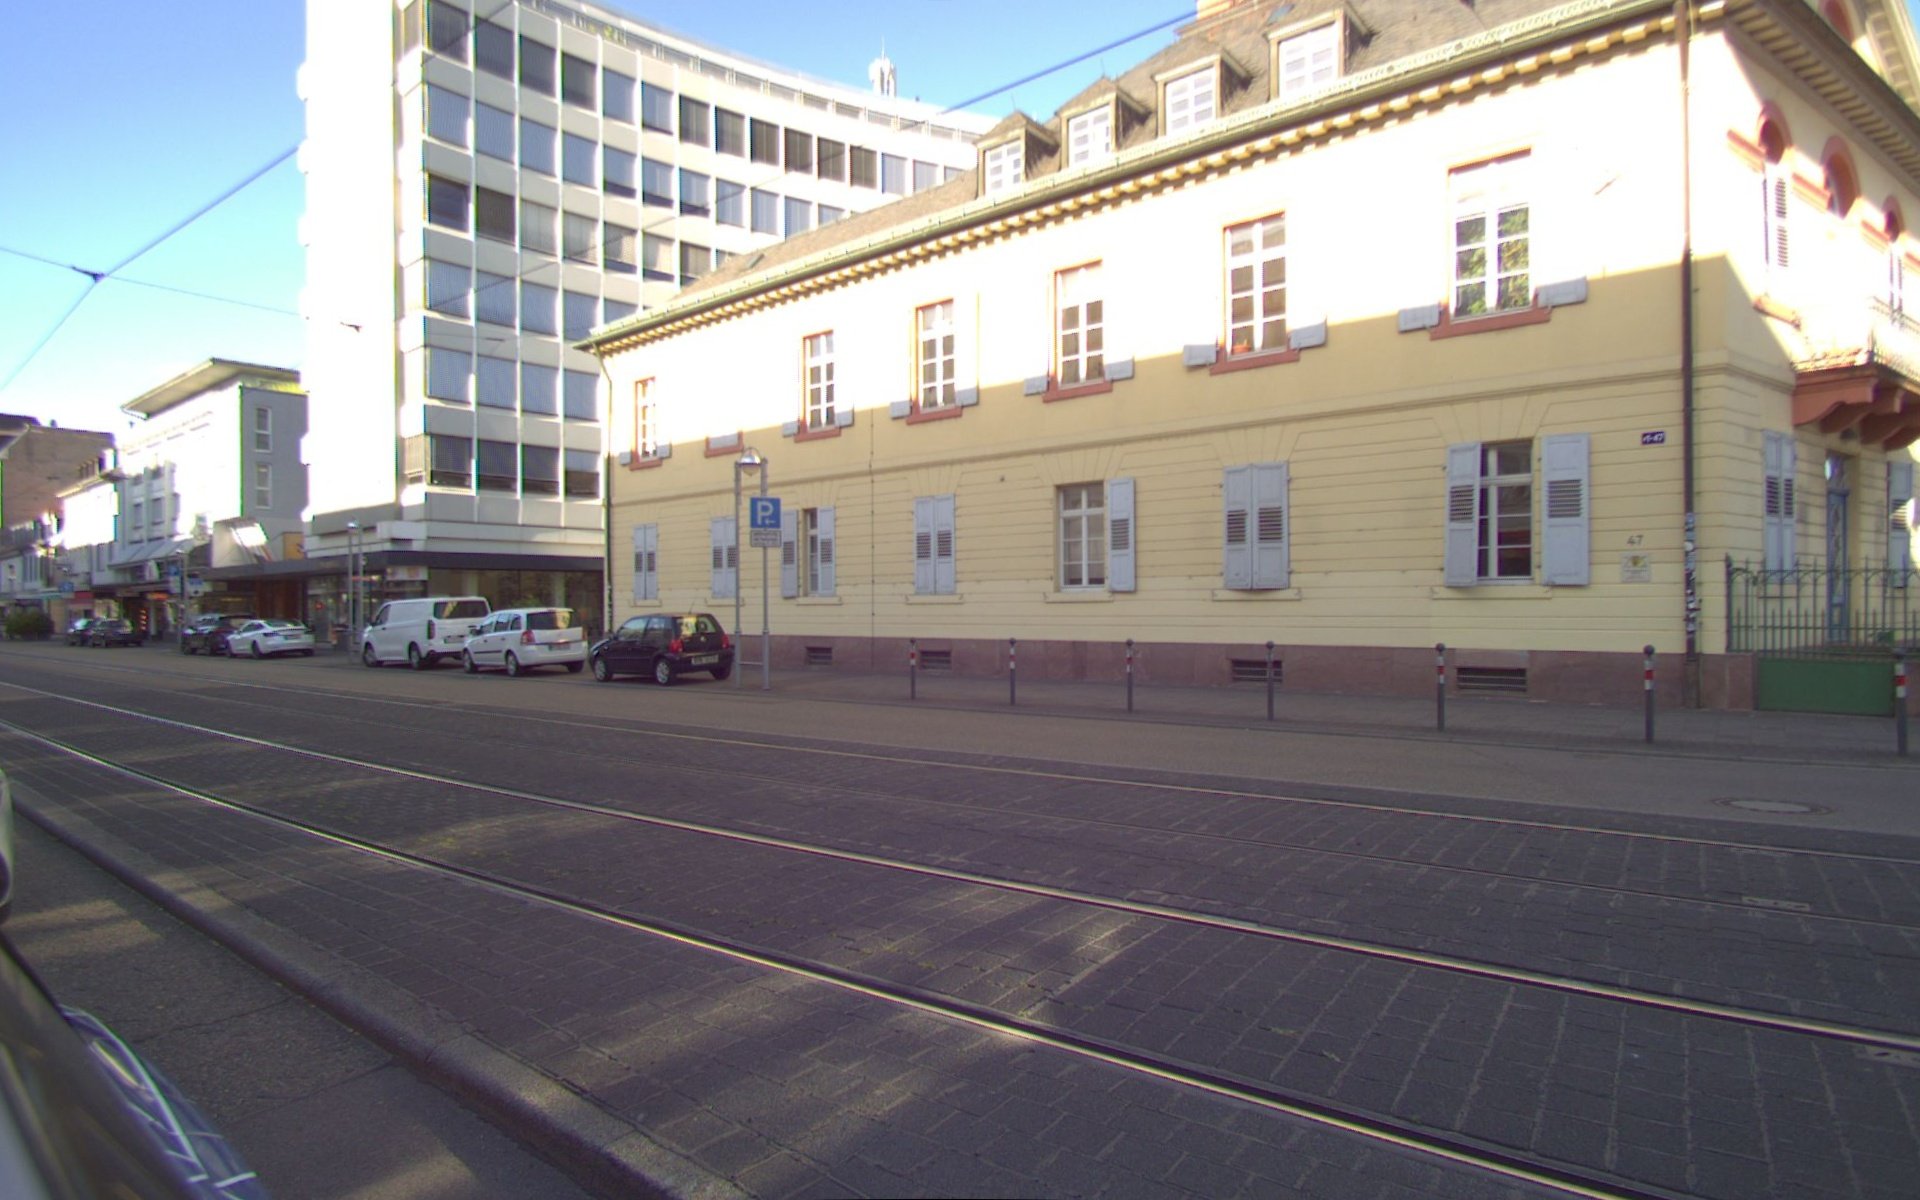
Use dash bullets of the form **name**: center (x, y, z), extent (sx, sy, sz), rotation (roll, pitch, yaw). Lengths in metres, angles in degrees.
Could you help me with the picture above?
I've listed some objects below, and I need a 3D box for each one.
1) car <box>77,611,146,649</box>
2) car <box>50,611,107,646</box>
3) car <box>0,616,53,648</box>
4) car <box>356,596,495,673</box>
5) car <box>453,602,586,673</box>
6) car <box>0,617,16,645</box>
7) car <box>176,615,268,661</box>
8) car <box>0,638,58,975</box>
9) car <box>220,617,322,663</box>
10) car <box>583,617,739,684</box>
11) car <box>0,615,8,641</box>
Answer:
- **car**: center (-43.792, 1.517, 52.204), extent (3.995, 1.874, 1.974), rotation (-1, 0, 38)
- **car**: center (-50.377, 1.620, 57.804), extent (3.995, 1.896, 1.768), rotation (-1, -1, 38)
- **car**: center (-62.853, 2.133, 68.044), extent (3.996, 2.058, 2.172), rotation (-1, -1, 39)
- **car**: center (-15.355, 0.970, 28.961), extent (4.619, 2.029, 2.014), rotation (-1, -1, 41)
- **car**: center (-11.096, 0.892, 25.367), extent (4.005, 1.621, 1.619), rotation (-1, 0, 43)
- **car**: center (-71.114, 2.266, 74.487), extent (3.998, 2.029, 1.973), rotation (-1, -1, 41)
- **car**: center (-29.911, 1.490, 40.979), extent (4.103, 1.717, 1.975), rotation (-1, 0, 38)
- **car**: center (-6.068, 0.903, 4.822), extent (3.992, 1.393, 1.862), rotation (-1, 0, 36)
- **car**: center (-25.640, 1.444, 37.619), extent (4.369, 1.541, 1.974), rotation (-1, 0, 39)
- **car**: center (-6.378, 1.014, 21.485), extent (3.210, 1.263, 1.667), rotation (-1, 0, 39)
- **car**: center (-78.692, 2.285, 81.793), extent (3.995, 2.029, 1.974), rotation (-1, 0, 38)
